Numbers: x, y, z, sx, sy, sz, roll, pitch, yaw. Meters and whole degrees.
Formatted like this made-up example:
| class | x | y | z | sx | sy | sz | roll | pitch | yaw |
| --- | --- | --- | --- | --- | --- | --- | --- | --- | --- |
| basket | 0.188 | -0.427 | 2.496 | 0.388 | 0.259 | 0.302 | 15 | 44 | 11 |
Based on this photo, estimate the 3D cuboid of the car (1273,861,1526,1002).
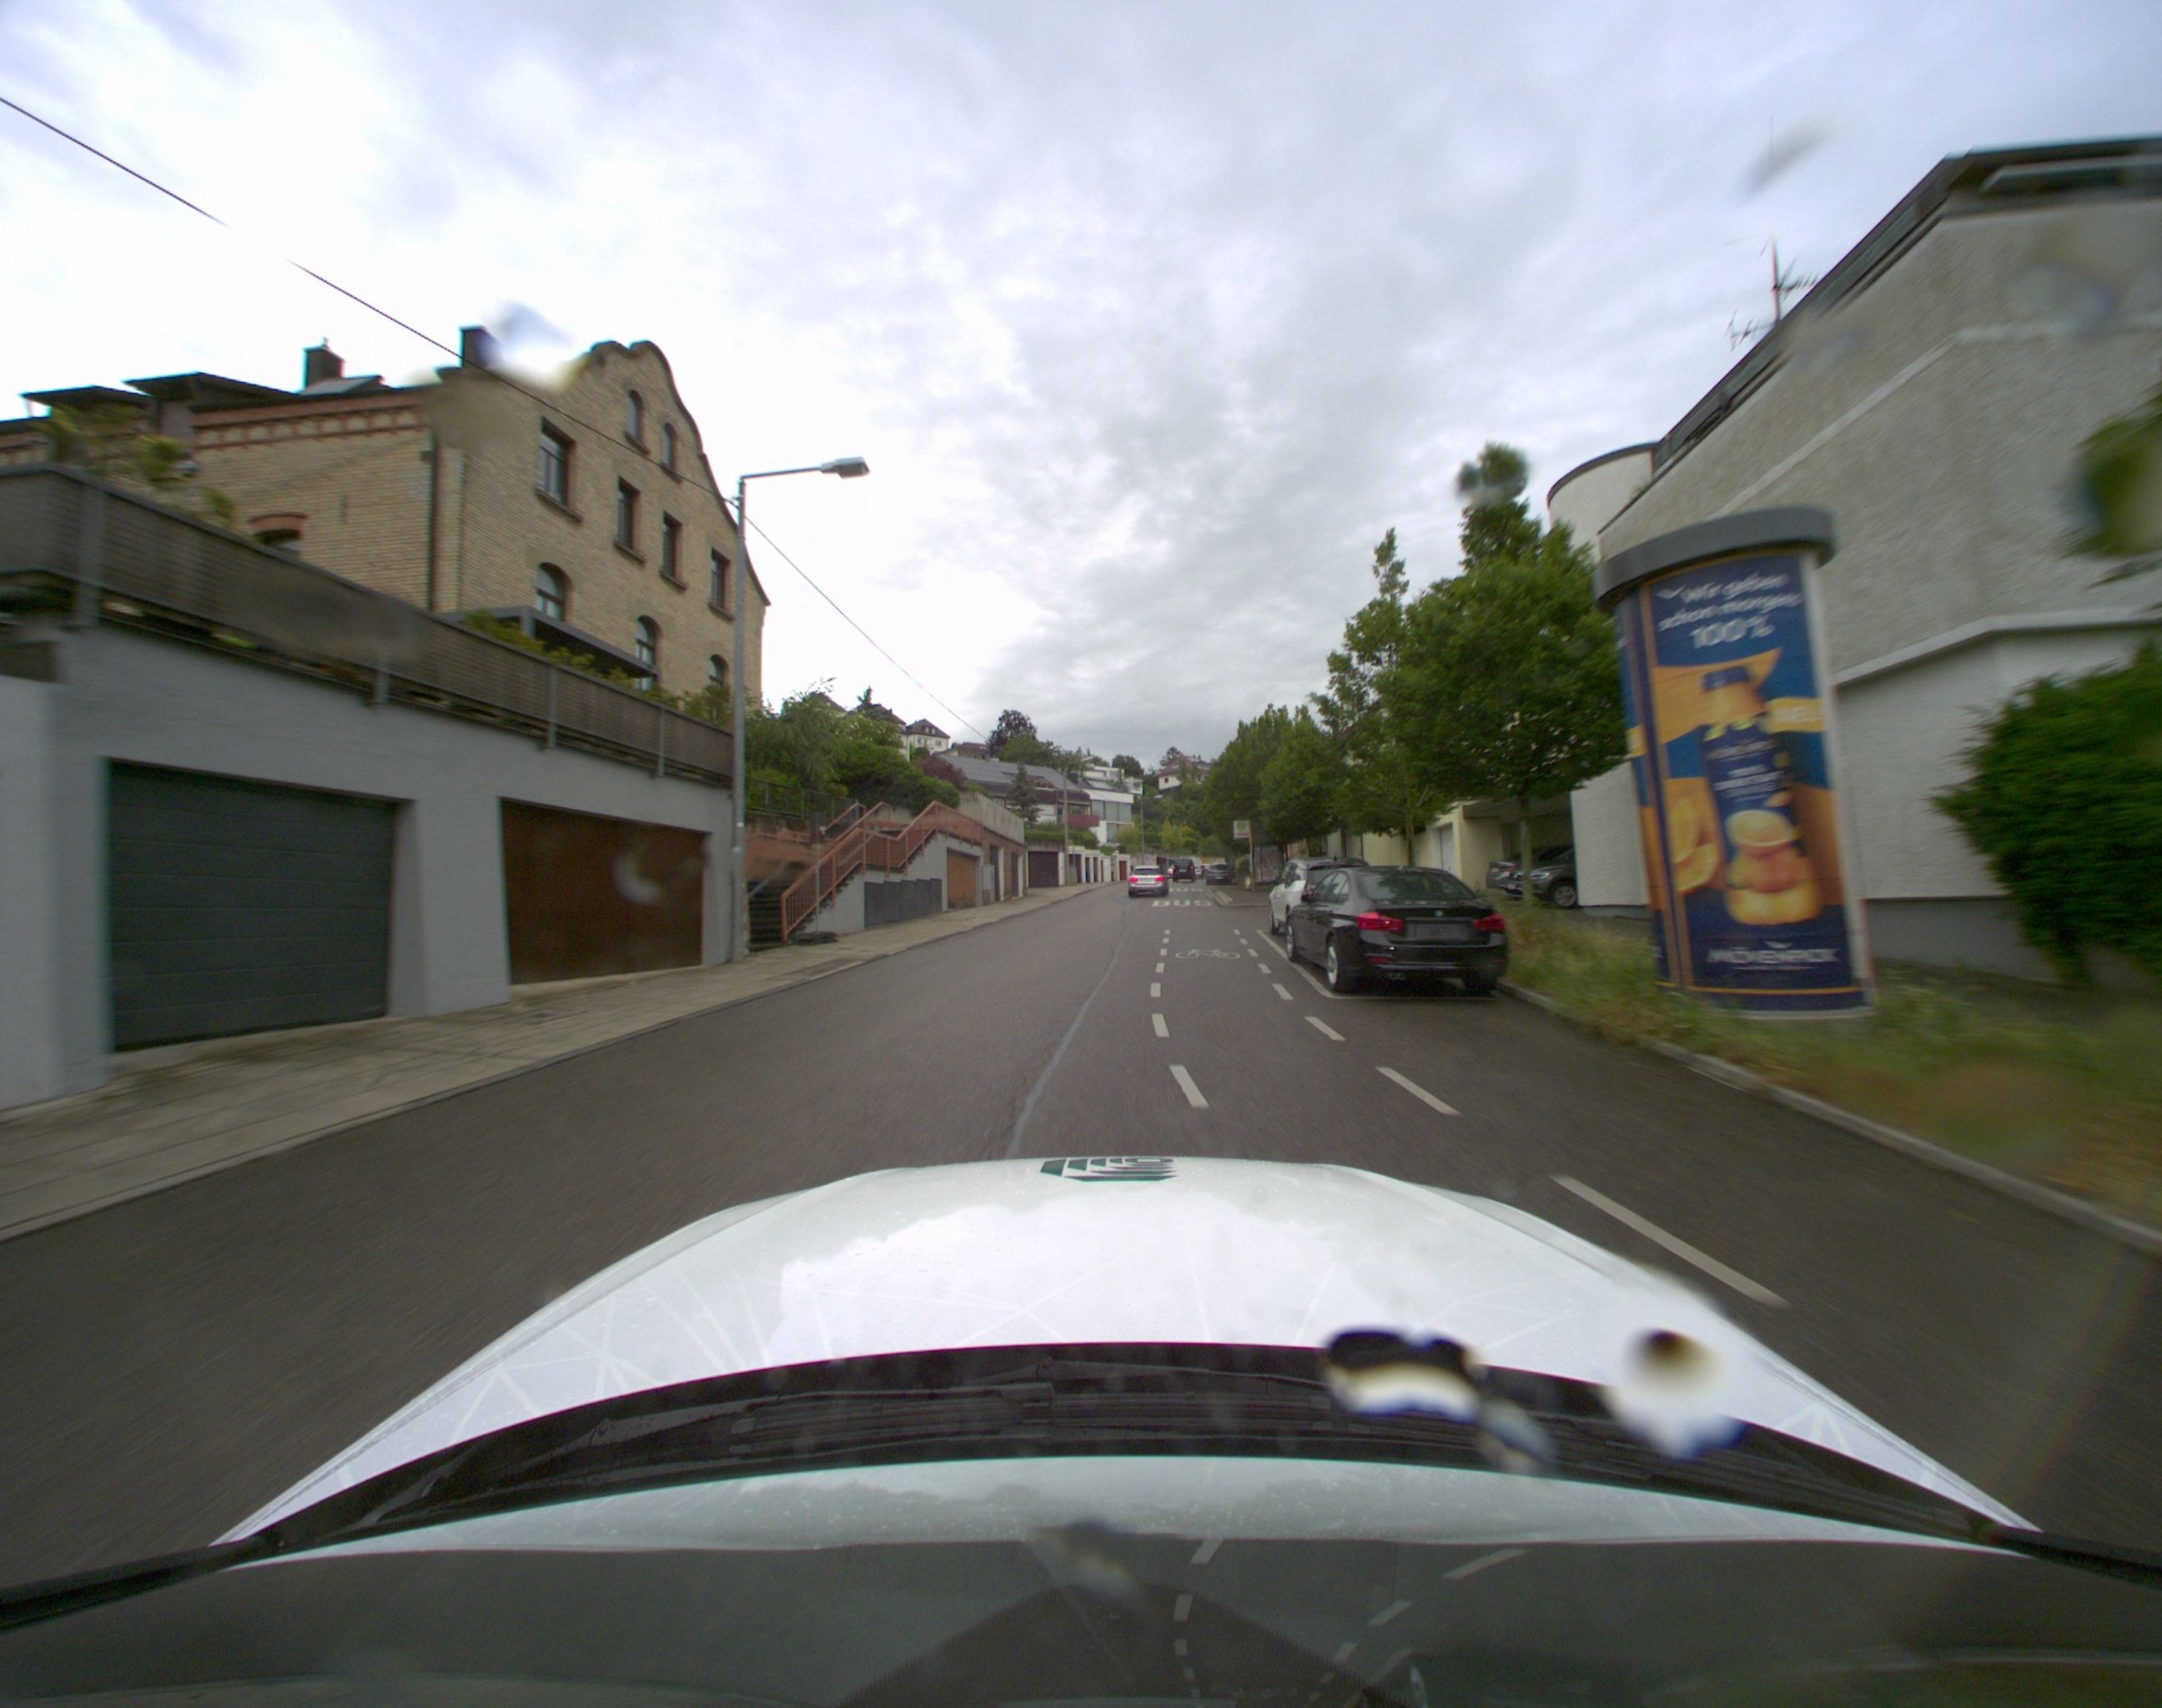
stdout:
| class | x | y | z | sx | sy | sz | roll | pitch | yaw |
| --- | --- | --- | --- | --- | --- | --- | --- | --- | --- |
| car | 3.827 | 0.821 | 10.774 | 1.770 | 1.439 | 4.887 | 0 | -1 | 4 |

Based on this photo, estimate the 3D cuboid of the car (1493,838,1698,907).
| class | x | y | z | sx | sy | sz | roll | pitch | yaw |
| --- | --- | --- | --- | --- | --- | --- | --- | --- | --- |
| car | 11.972 | 0.432 | 19.166 | 3.680 | 1.507 | 1.786 | -1 | -1 | 8 |

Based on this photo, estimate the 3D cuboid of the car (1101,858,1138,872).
| class | x | y | z | sx | sy | sz | roll | pitch | yaw |
| --- | --- | --- | --- | --- | --- | --- | --- | --- | --- |
| car | 4.166 | 1.206 | 87.982 | 1.777 | 1.478 | 3.885 | 1 | 0 | -41 |

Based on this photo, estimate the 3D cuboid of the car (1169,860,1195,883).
| class | x | y | z | sx | sy | sz | roll | pitch | yaw |
| --- | --- | --- | --- | --- | --- | --- | --- | --- | --- |
| car | 8.008 | 1.380 | 64.671 | 1.983 | 1.708 | 4.008 | -1 | -1 | 7 |

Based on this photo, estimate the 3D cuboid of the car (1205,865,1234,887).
| class | x | y | z | sx | sy | sz | roll | pitch | yaw |
| --- | --- | --- | --- | --- | --- | --- | --- | --- | --- |
| car | 9.661 | 1.503 | 56.785 | 1.867 | 1.416 | 4.480 | -1 | -1 | 10 |

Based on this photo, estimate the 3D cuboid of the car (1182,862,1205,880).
| class | x | y | z | sx | sy | sz | roll | pitch | yaw |
| --- | --- | --- | --- | --- | --- | --- | --- | --- | --- |
| car | 10.960 | 1.666 | 79.280 | 1.981 | 1.708 | 4.011 | -1 | -1 | 10 |

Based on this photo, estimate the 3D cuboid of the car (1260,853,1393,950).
| class | x | y | z | sx | sy | sz | roll | pitch | yaw |
| --- | --- | --- | --- | --- | --- | --- | --- | --- | --- |
| car | 4.623 | 0.829 | 15.894 | 1.721 | 1.608 | 4.126 | 1 | -1 | 6 |

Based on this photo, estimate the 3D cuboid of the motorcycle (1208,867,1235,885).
| class | x | y | z | sx | sy | sz | roll | pitch | yaw |
| --- | --- | --- | --- | --- | --- | --- | --- | --- | --- |
| motorcycle | 10.320 | 1.625 | 59.989 | 1.904 | 1.330 | 0.789 | 1 | -1 | 5 |

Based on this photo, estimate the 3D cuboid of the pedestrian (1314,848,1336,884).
| class | x | y | z | sx | sy | sz | roll | pitch | yaw |
| --- | --- | --- | --- | --- | --- | --- | --- | --- | --- |
| pedestrian | 12.143 | 0.593 | 40.571 | 0.828 | 1.686 | 1.047 | -4 | -1 | 8 |

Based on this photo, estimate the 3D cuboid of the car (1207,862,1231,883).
| class | x | y | z | sx | sy | sz | roll | pitch | yaw |
| --- | --- | --- | --- | --- | --- | --- | --- | --- | --- |
| car | 10.677 | 1.403 | 62.808 | 1.646 | 1.489 | 4.012 | 0 | -1 | 11 |

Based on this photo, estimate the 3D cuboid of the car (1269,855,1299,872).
| class | x | y | z | sx | sy | sz | roll | pitch | yaw |
| --- | --- | --- | --- | --- | --- | --- | --- | --- | --- |
| car | 31.953 | 1.477 | 128.104 | 2.074 | 2.550 | 6.136 | -3 | -1 | 38 |

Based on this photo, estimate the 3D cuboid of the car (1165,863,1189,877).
| class | x | y | z | sx | sy | sz | roll | pitch | yaw |
| --- | --- | --- | --- | --- | --- | --- | --- | --- | --- |
| car | 10.506 | 1.742 | 88.747 | 1.613 | 1.516 | 3.852 | -2 | -1 | 21 |

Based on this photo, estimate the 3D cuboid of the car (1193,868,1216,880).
| class | x | y | z | sx | sy | sz | roll | pitch | yaw |
| --- | --- | --- | --- | --- | --- | --- | --- | --- | --- |
| car | 15.208 | 2.424 | 100.102 | 1.815 | 1.440 | 4.062 | -2 | -2 | 24 |

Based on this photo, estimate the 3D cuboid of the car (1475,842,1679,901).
| class | x | y | z | sx | sy | sz | roll | pitch | yaw |
| --- | --- | --- | --- | --- | --- | --- | --- | --- | --- |
| car | 13.095 | 0.455 | 21.736 | 4.273 | 1.480 | 1.834 | 0 | 0 | 7 |

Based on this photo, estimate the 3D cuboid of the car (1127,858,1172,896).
| class | x | y | z | sx | sy | sz | roll | pitch | yaw |
| --- | --- | --- | --- | --- | --- | --- | --- | --- | --- |
| car | 3.271 | 1.097 | 39.121 | 2.016 | 1.708 | 4.220 | -1 | -1 | 4 |

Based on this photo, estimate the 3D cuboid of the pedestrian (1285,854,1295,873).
| class | x | y | z | sx | sy | sz | roll | pitch | yaw |
| --- | --- | --- | --- | --- | --- | --- | --- | --- | --- |
| pedestrian | 19.017 | 0.884 | 74.099 | 0.754 | 1.720 | 0.906 | -4 | -2 | 15 |
